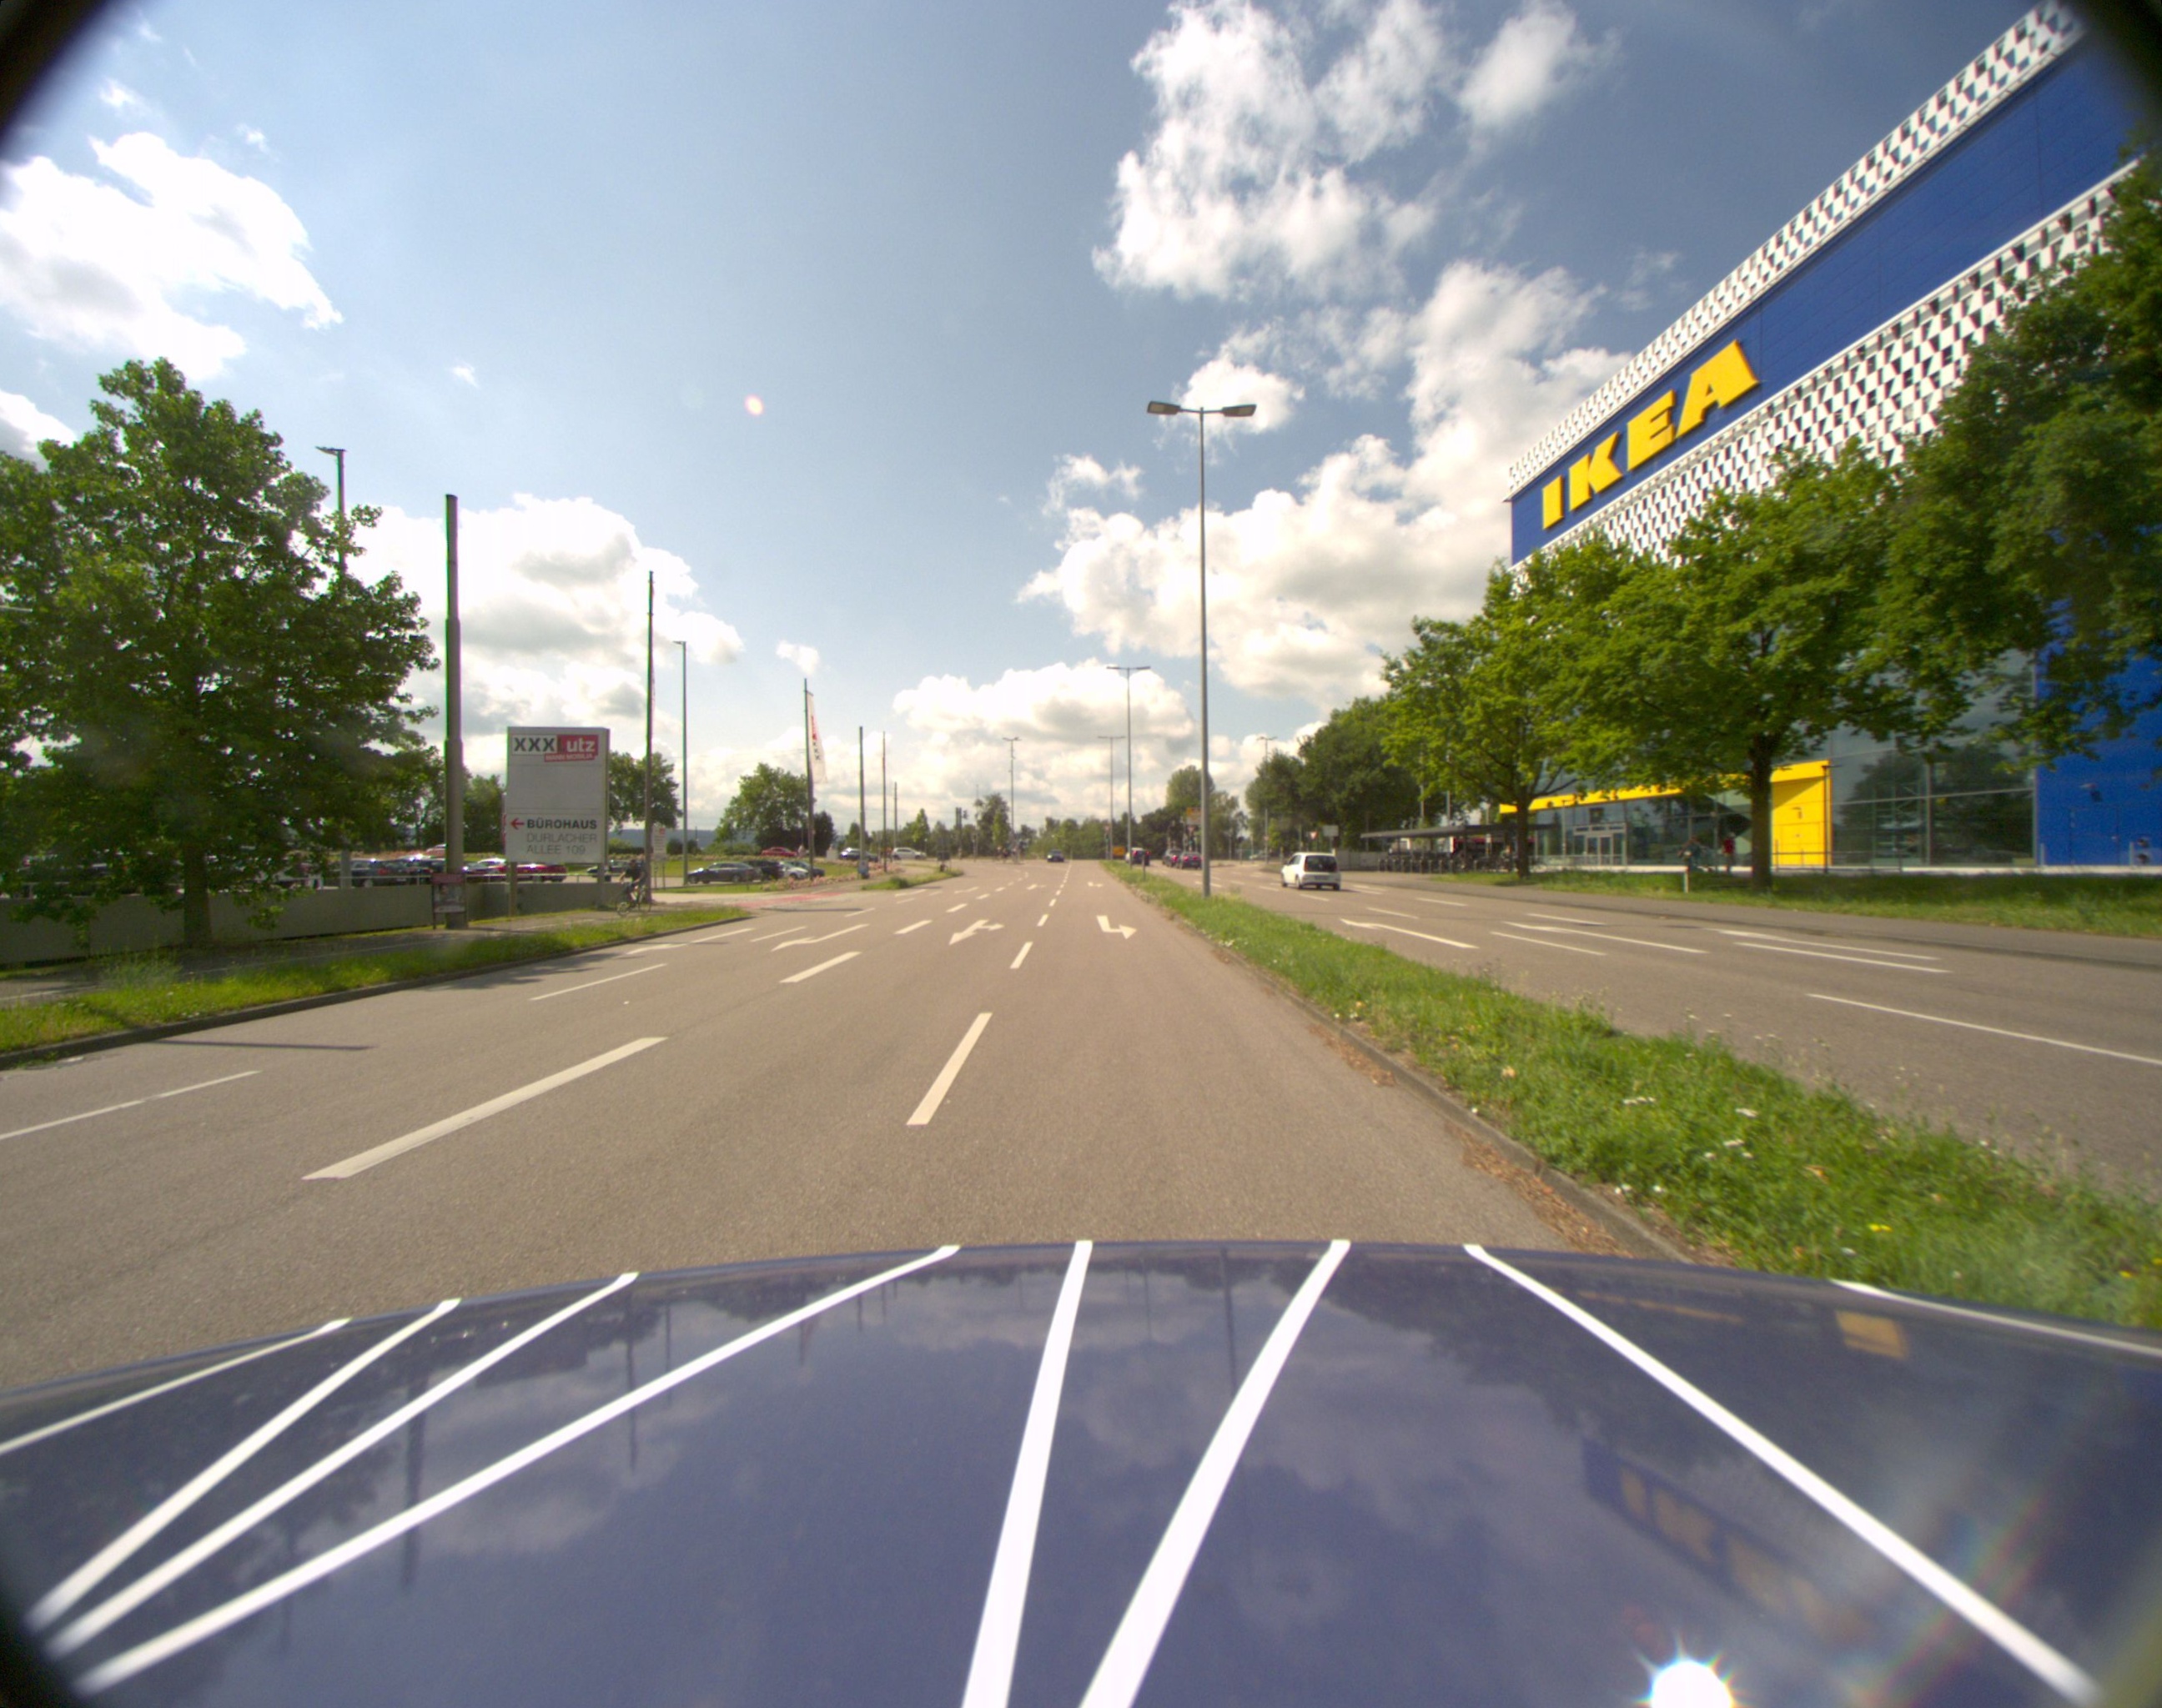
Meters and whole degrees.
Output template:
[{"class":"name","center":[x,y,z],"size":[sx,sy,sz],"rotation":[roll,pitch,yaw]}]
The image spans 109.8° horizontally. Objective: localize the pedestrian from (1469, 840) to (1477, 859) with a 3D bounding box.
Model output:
[{"class":"pedestrian","center":[36.742,-0.411,71.175],"size":[0.528,1.693,0.410],"rotation":[-1,0,-9]}]

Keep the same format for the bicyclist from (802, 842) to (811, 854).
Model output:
[{"class":"bicyclist","center":[-29.040,-0.635,80.316],"size":[0.687,1.318,0.593],"rotation":[-1,0,4]}]

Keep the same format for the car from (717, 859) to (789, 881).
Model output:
[{"class":"car","center":[-23.820,1.150,55.244],"size":[4.369,1.408,1.856],"rotation":[-1,1,1]}]

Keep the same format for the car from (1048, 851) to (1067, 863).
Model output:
[{"class":"car","center":[-2.659,0.353,87.538],"size":[1.796,1.311,4.163],"rotation":[-2,0,3]}]

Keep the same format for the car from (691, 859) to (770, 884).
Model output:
[{"class":"car","center":[-23.165,1.154,50.316],"size":[4.369,1.468,1.857],"rotation":[-2,1,2]}]

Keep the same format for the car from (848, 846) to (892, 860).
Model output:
[{"class":"car","center":[-23.086,-0.120,83.213],"size":[4.193,1.475,1.918],"rotation":[1,2,17]}]

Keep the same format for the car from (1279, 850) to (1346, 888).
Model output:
[{"class":"car","center":[9.212,0.550,30.525],"size":[1.647,1.420,3.670],"rotation":[0,1,2]}]

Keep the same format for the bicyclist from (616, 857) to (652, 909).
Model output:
[{"class":"bicyclist","center":[-12.463,0.795,21.207],"size":[0.617,1.404,0.714],"rotation":[-1,0,-6]}]

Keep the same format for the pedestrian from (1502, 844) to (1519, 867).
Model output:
[{"class":"pedestrian","center":[32.588,0.128,57.636],"size":[0.898,1.697,0.710],"rotation":[-1,1,0]}]

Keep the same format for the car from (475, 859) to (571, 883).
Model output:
[{"class":"car","center":[-33.039,0.990,45.093],"size":[4.369,1.354,1.847],"rotation":[1,-1,2]}]

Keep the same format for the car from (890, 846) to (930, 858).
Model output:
[{"class":"car","center":[-20.772,-0.244,92.550],"size":[4.495,1.405,2.013],"rotation":[0,1,-3]}]

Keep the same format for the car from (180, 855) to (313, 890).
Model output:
[{"class":"car","center":[-38.749,0.840,35.346],"size":[4.159,1.499,1.826],"rotation":[-1,0,1]}]

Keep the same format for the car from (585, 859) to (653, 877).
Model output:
[{"class":"car","center":[-38.136,1.118,62.826],"size":[4.369,1.400,2.050],"rotation":[1,0,2]}]

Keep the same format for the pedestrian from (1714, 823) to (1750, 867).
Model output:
[{"class":"pedestrian","center":[27.225,-0.366,31.782],"size":[0.755,1.812,0.887],"rotation":[-2,1,0]}]

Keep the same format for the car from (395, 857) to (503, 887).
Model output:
[{"class":"car","center":[-33.326,0.910,40.113],"size":[4.369,1.500,1.682],"rotation":[1,1,2]}]

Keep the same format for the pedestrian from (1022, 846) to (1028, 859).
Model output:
[{"class":"pedestrian","center":[-6.336,-0.186,86.006],"size":[0.556,1.515,0.470],"rotation":[-1,0,9]}]

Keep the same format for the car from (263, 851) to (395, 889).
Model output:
[{"class":"car","center":[-32.965,0.708,33.385],"size":[4.025,1.578,1.695],"rotation":[-1,-1,-1]}]

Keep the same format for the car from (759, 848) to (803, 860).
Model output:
[{"class":"car","center":[-33.550,0.018,85.013],"size":[4.247,1.353,1.748],"rotation":[0,1,-4]}]

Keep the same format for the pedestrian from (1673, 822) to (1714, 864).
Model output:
[{"class":"pedestrian","center":[25.366,-0.448,31.483],"size":[0.952,1.693,0.887],"rotation":[-2,1,0]}]

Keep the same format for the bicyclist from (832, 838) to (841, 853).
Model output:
[{"class":"bicyclist","center":[-25.618,-0.889,79.676],"size":[0.742,1.466,0.651],"rotation":[-1,0,1]}]

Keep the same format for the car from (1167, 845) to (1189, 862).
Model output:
[{"class":"car","center":[8.715,-0.070,68.556],"size":[1.415,1.384,4.095],"rotation":[1,1,0]}]

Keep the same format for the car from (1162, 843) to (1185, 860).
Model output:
[{"class":"car","center":[9.273,-0.295,76.497],"size":[1.775,1.606,3.998],"rotation":[1,2,0]}]

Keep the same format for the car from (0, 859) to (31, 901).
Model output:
[{"class":"car","center":[-38.873,0.897,25.683],"size":[4.300,1.419,1.760],"rotation":[-1,-1,0]}]

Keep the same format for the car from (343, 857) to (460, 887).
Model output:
[{"class":"car","center":[-33.591,0.893,37.613],"size":[4.369,1.433,1.627],"rotation":[1,-1,2]}]

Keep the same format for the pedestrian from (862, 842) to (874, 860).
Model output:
[{"class":"pedestrian","center":[-21.408,-0.340,76.371],"size":[0.820,1.792,0.761],"rotation":[0,1,27]}]

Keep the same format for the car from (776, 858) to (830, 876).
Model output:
[{"class":"car","center":[-23.833,1.112,65.160],"size":[3.997,1.410,1.715],"rotation":[-1,1,-1]}]

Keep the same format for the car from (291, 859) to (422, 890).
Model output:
[{"class":"car","center":[-33.656,0.937,35.381],"size":[4.369,1.354,1.847],"rotation":[0,1,2]}]

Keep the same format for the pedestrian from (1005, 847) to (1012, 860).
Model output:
[{"class":"pedestrian","center":[-8.071,-0.066,84.762],"size":[0.584,1.515,0.469],"rotation":[-2,1,9]}]

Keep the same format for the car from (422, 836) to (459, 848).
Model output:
[{"class":"car","center":[-88.594,-1.661,105.095],"size":[3.491,1.448,1.699],"rotation":[-4,3,-8]}]

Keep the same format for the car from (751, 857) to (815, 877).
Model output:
[{"class":"car","center":[-23.632,1.012,60.376],"size":[4.369,1.431,1.796],"rotation":[-1,1,1]}]

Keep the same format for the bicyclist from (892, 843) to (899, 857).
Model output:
[{"class":"bicyclist","center":[-19.783,-0.440,81.045],"size":[0.697,1.526,0.620],"rotation":[-1,0,-16]}]

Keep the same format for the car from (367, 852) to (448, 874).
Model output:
[{"class":"car","center":[-49.230,0.675,55.581],"size":[4.236,1.578,1.853],"rotation":[0,0,-1]}]

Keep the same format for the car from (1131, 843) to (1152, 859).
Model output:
[{"class":"car","center":[5.665,-0.295,71.290],"size":[1.608,1.485,4.131],"rotation":[1,1,0]}]

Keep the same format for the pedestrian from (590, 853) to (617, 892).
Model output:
[{"class":"pedestrian","center":[-22.260,0.859,35.394],"size":[0.874,1.772,0.782],"rotation":[-2,0,-44]}]

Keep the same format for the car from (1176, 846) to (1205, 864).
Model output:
[{"class":"car","center":[8.930,0.054,62.264],"size":[1.668,1.413,4.518],"rotation":[1,1,0]}]

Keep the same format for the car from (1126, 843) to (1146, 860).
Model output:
[{"class":"car","center":[5.648,-0.315,78.591],"size":[1.712,1.610,4.376],"rotation":[1,1,-1]}]

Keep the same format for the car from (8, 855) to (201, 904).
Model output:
[{"class":"car","center":[-32.974,0.834,25.756],"size":[4.065,1.522,1.741],"rotation":[1,1,-3]}]

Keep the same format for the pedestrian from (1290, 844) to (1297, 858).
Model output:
[{"class":"pedestrian","center":[22.309,-0.285,79.715],"size":[0.439,1.482,0.619],"rotation":[-1,1,-16]}]
